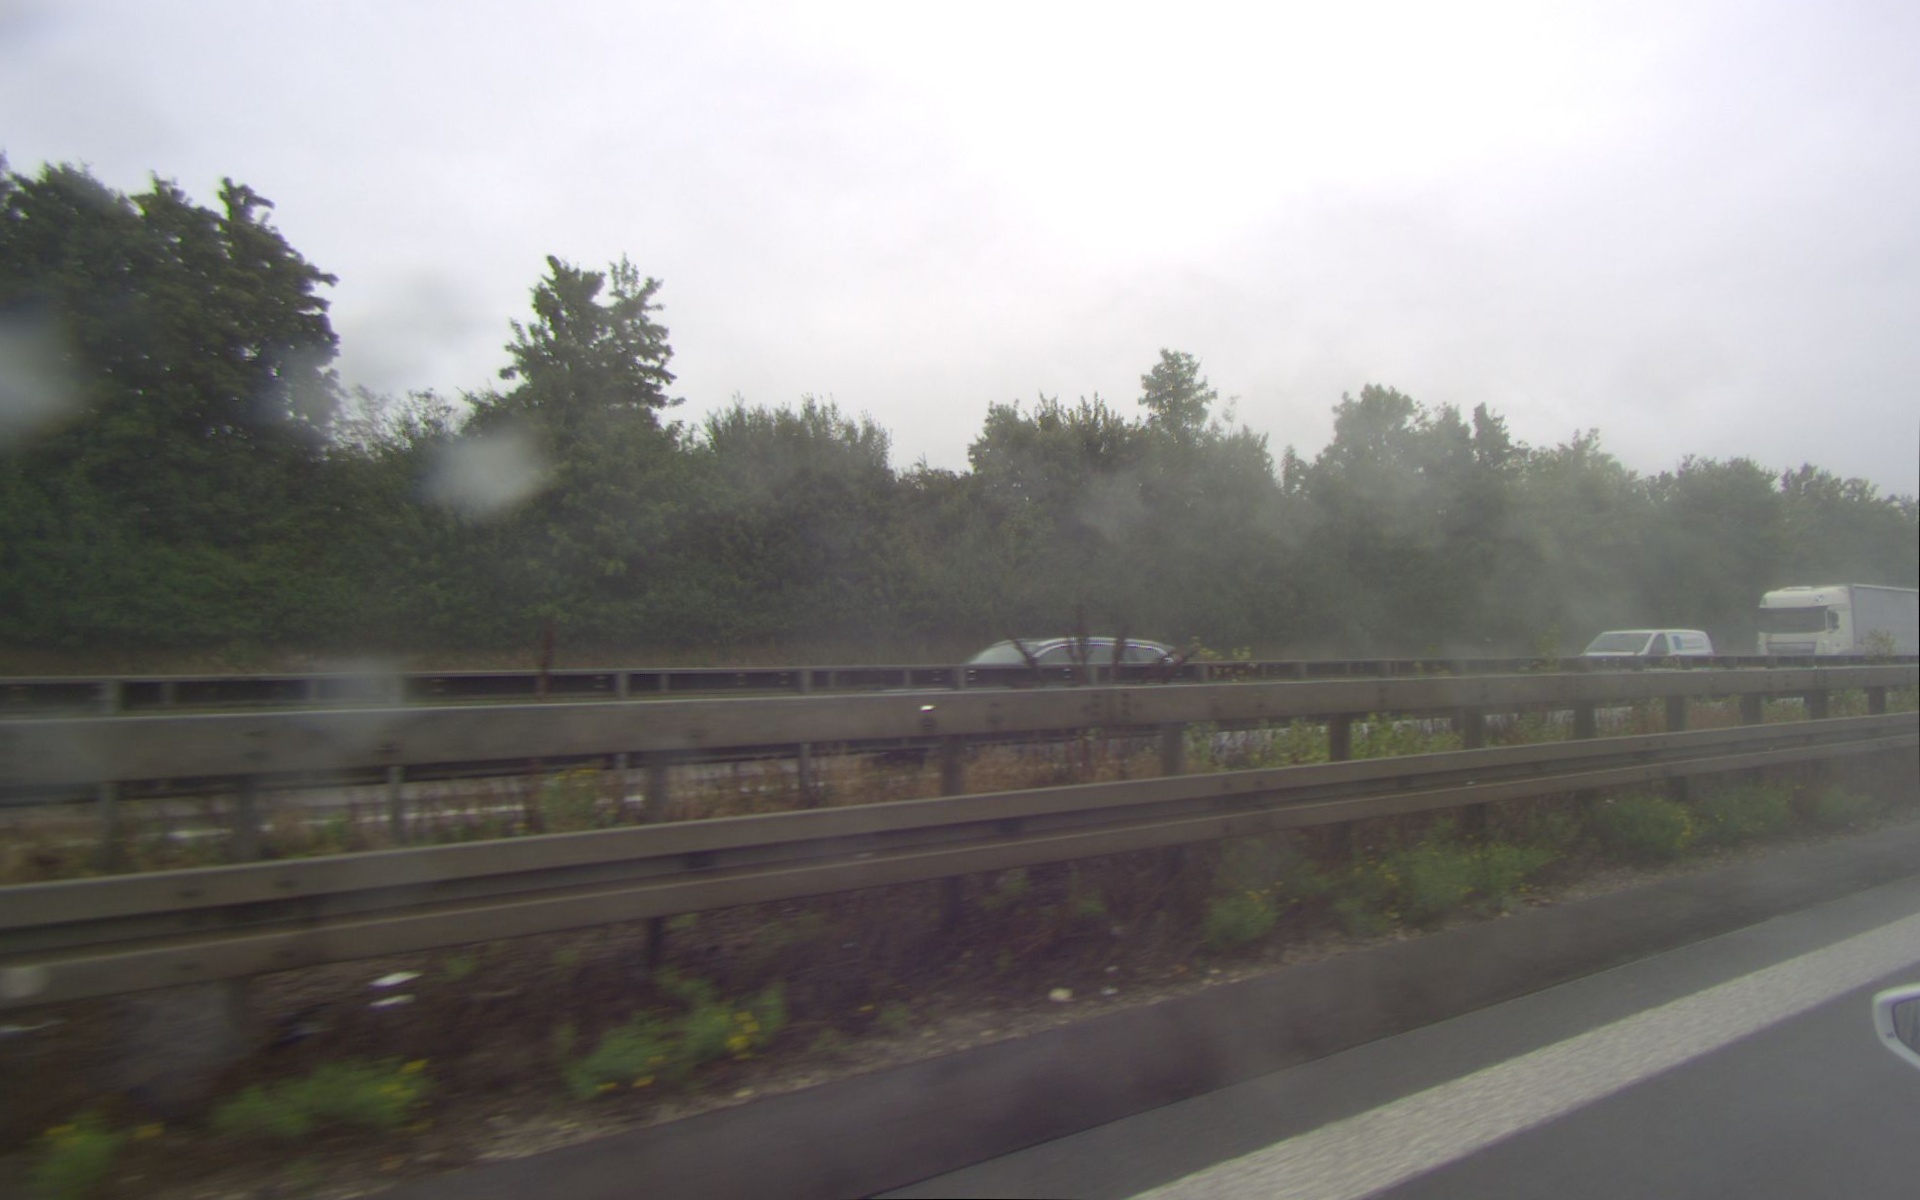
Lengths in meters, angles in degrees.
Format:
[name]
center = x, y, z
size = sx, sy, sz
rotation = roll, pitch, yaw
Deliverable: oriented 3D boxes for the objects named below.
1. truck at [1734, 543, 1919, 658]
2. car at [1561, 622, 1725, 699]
[truck]
center = 41.779, 0.095, 47.031
size = 16.904, 4.737, 2.950
rotation = 1, 0, -32
[car]
center = 19.996, 1.680, 29.322
size = 5.340, 2.040, 1.919
rotation = 1, 0, -31
